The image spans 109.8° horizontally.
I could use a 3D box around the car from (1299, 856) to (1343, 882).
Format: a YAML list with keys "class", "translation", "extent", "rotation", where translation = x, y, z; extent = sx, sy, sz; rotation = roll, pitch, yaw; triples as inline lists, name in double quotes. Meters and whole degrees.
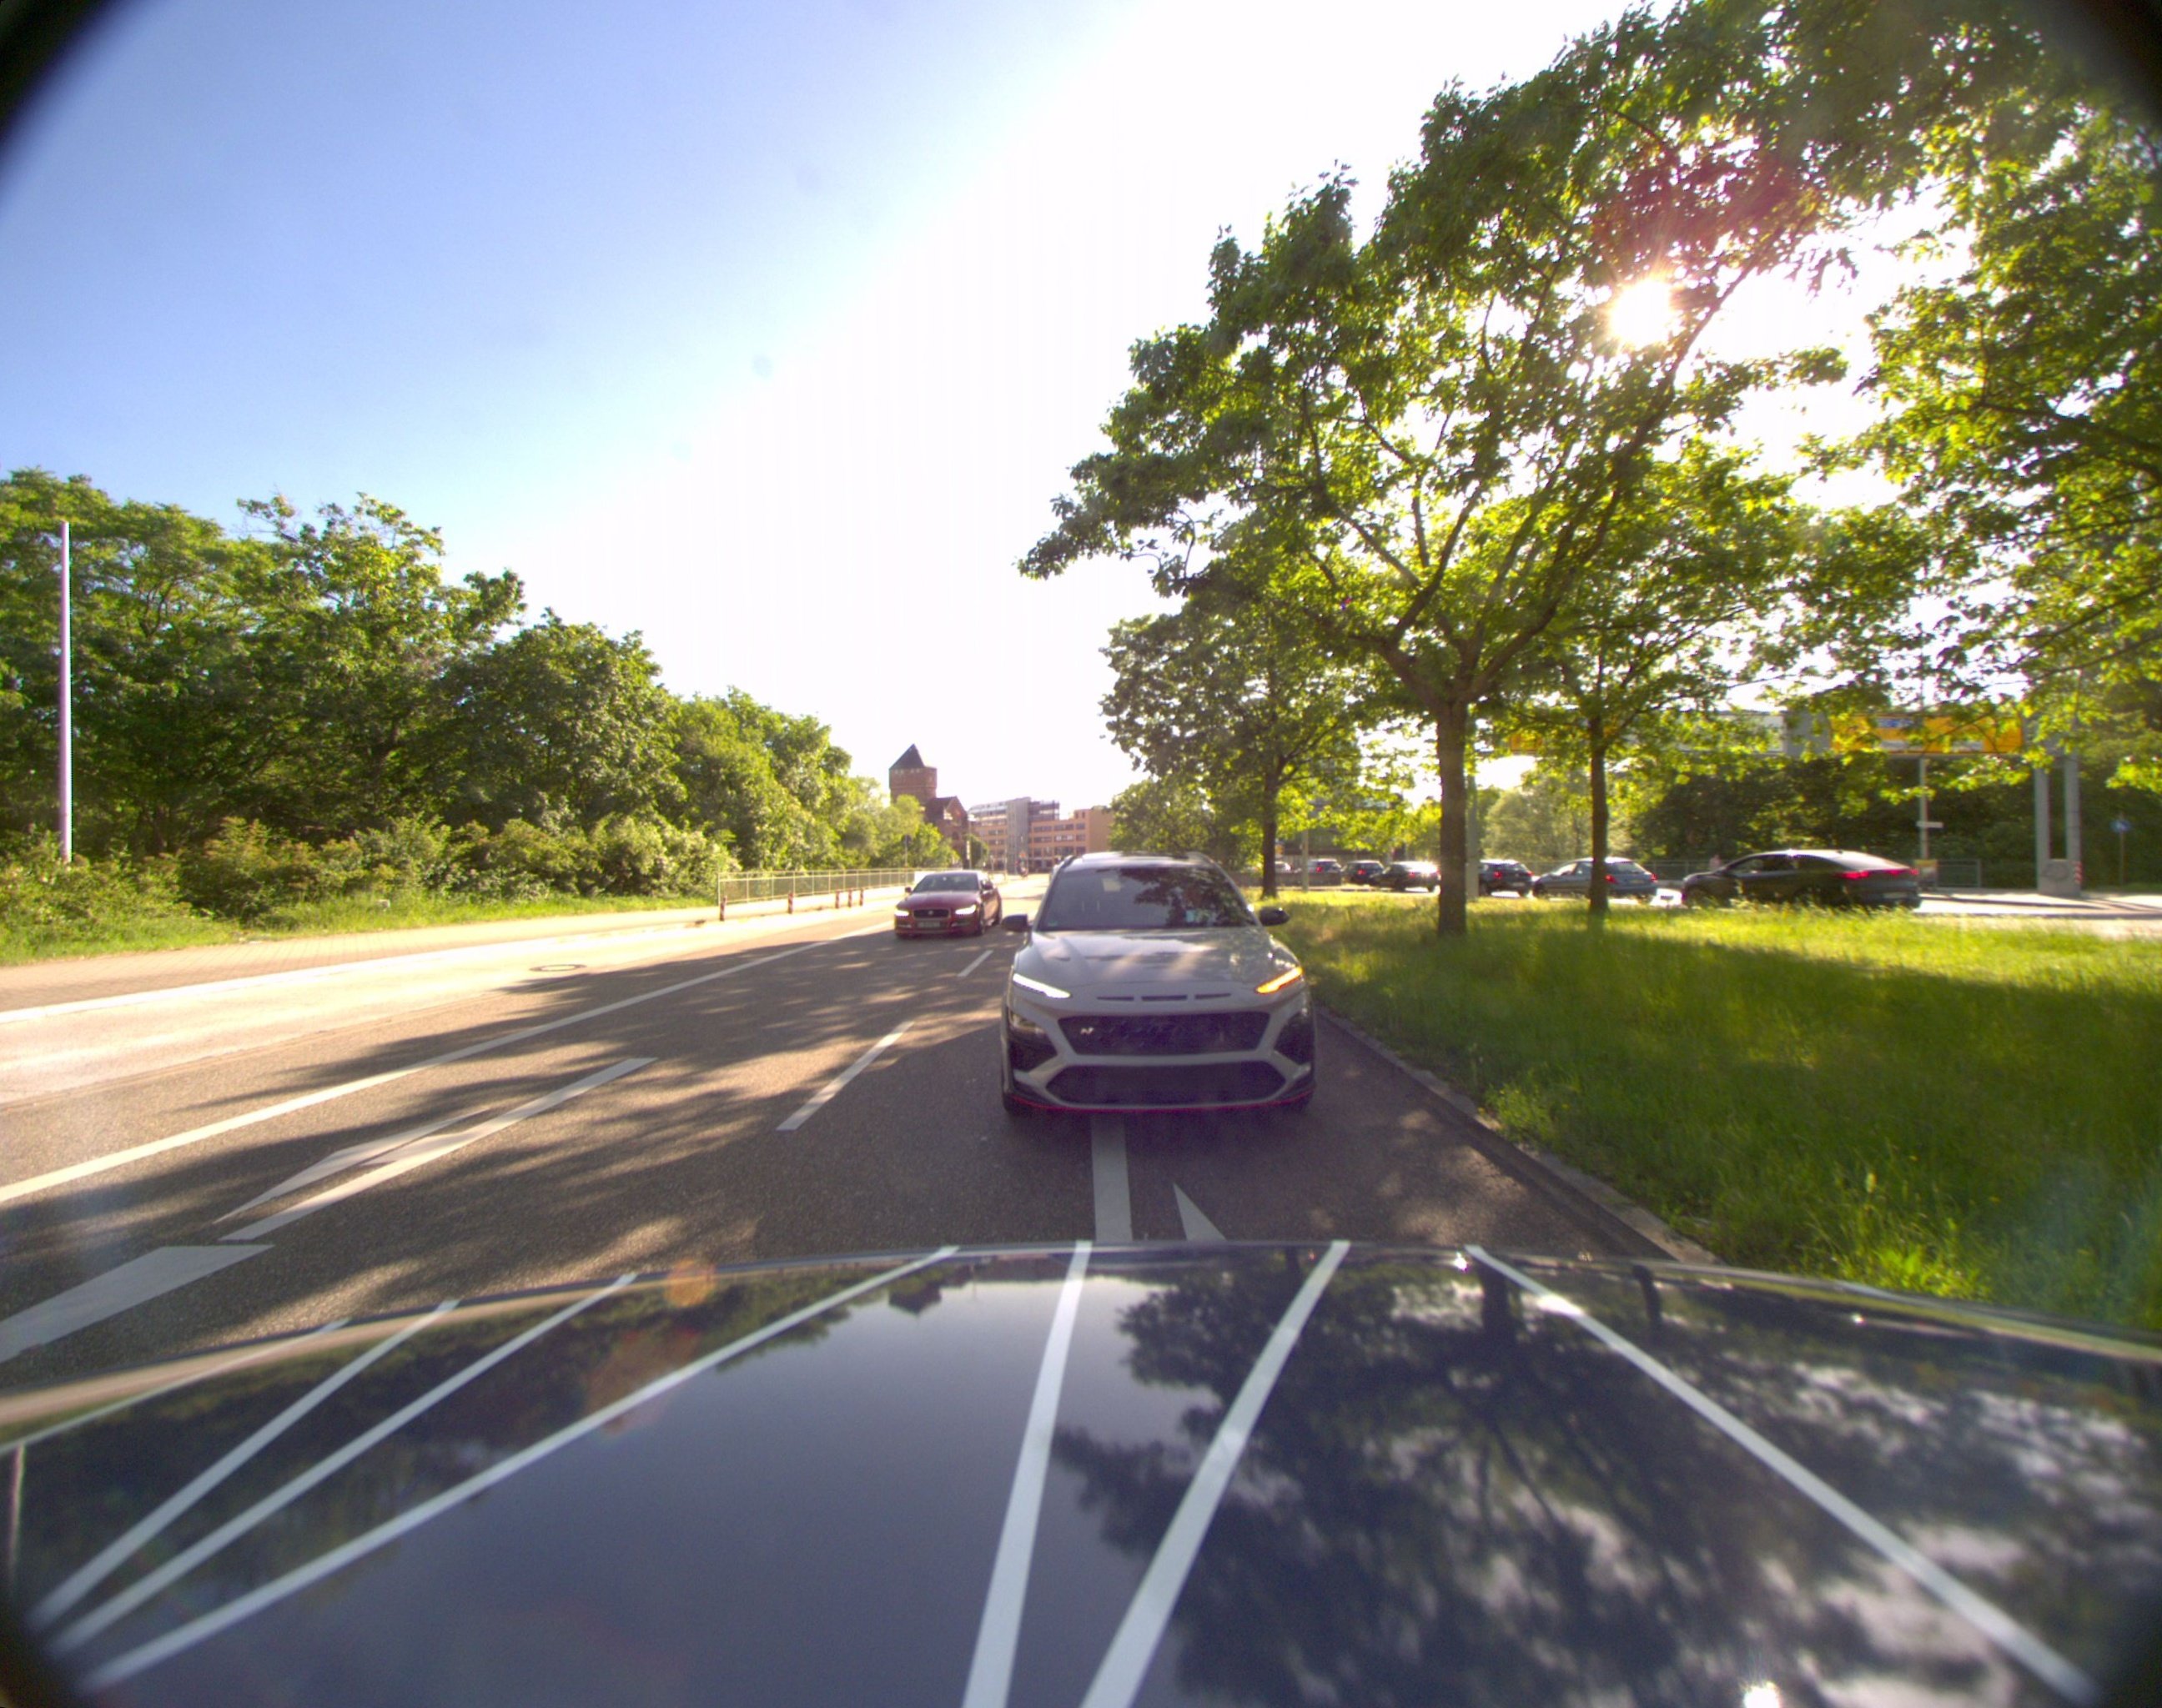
- class: "car"
  translation: [14.972, 0.987, 47.548]
  extent: [1.450, 1.549, 3.202]
  rotation: [-1, -2, -6]

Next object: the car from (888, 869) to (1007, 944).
- class: "car"
  translation: [-2.954, 1.125, 17.727]
  extent: [1.892, 1.420, 4.387]
  rotation: [-2, -1, 1]

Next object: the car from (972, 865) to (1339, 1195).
- class: "car"
  translation: [0.389, 0.887, 5.678]
  extent: [1.752, 1.523, 3.988]
  rotation: [-1, 0, 1]

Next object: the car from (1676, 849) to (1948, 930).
- class: "car"
  translation: [16.797, 0.740, 17.858]
  extent: [1.832, 1.638, 4.458]
  rotation: [-1, 0, -6]

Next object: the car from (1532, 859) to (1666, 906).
- class: "car"
  translation: [16.388, 0.877, 24.270]
  extent: [1.561, 1.355, 3.608]
  rotation: [-1, -1, -6]

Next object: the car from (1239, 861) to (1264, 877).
- class: "car"
  translation: [13.948, 1.270, 62.317]
  extent: [1.199, 1.252, 2.768]
  rotation: [-1, -2, -6]

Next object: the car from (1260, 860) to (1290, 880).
- class: "car"
  translation: [14.322, 1.203, 56.147]
  extent: [1.228, 1.331, 2.882]
  rotation: [-1, -3, -6]

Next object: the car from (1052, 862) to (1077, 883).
- class: "car"
  translation: [-1.166, 1.331, 56.302]
  extent: [1.677, 1.463, 4.151]
  rotation: [-1, 0, 1]

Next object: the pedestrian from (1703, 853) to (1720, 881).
- class: "pedestrian"
  translation: [34.085, 0.690, 41.057]
  extent: [0.421, 1.490, 0.545]
  rotation: [-1, 0, -7]

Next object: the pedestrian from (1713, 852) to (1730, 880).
- class: "pedestrian"
  translation: [34.574, 0.665, 41.042]
  extent: [0.421, 1.490, 0.545]
  rotation: [-1, 0, -7]

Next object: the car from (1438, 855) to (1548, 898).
- class: "car"
  translation: [16.189, 0.841, 30.139]
  extent: [1.875, 1.541, 4.221]
  rotation: [-1, 0, -4]

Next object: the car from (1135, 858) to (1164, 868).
- class: "car"
  translation: [13.994, 1.865, 155.505]
  extent: [5.399, 2.001, 2.178]
  rotation: [-1, 0, 36]

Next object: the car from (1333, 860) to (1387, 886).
- class: "car"
  translation: [15.154, 1.027, 41.468]
  extent: [1.481, 1.331, 3.202]
  rotation: [-1, -1, -6]

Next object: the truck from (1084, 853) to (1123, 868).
- class: "truck"
  translation: [4.747, 1.371, 164.110]
  extent: [3.535, 3.231, 9.141]
  rotation: [-1, 0, -36]

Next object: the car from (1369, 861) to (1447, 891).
- class: "car"
  translation: [15.478, 0.992, 36.212]
  extent: [1.623, 1.305, 4.066]
  rotation: [-1, 0, -6]
